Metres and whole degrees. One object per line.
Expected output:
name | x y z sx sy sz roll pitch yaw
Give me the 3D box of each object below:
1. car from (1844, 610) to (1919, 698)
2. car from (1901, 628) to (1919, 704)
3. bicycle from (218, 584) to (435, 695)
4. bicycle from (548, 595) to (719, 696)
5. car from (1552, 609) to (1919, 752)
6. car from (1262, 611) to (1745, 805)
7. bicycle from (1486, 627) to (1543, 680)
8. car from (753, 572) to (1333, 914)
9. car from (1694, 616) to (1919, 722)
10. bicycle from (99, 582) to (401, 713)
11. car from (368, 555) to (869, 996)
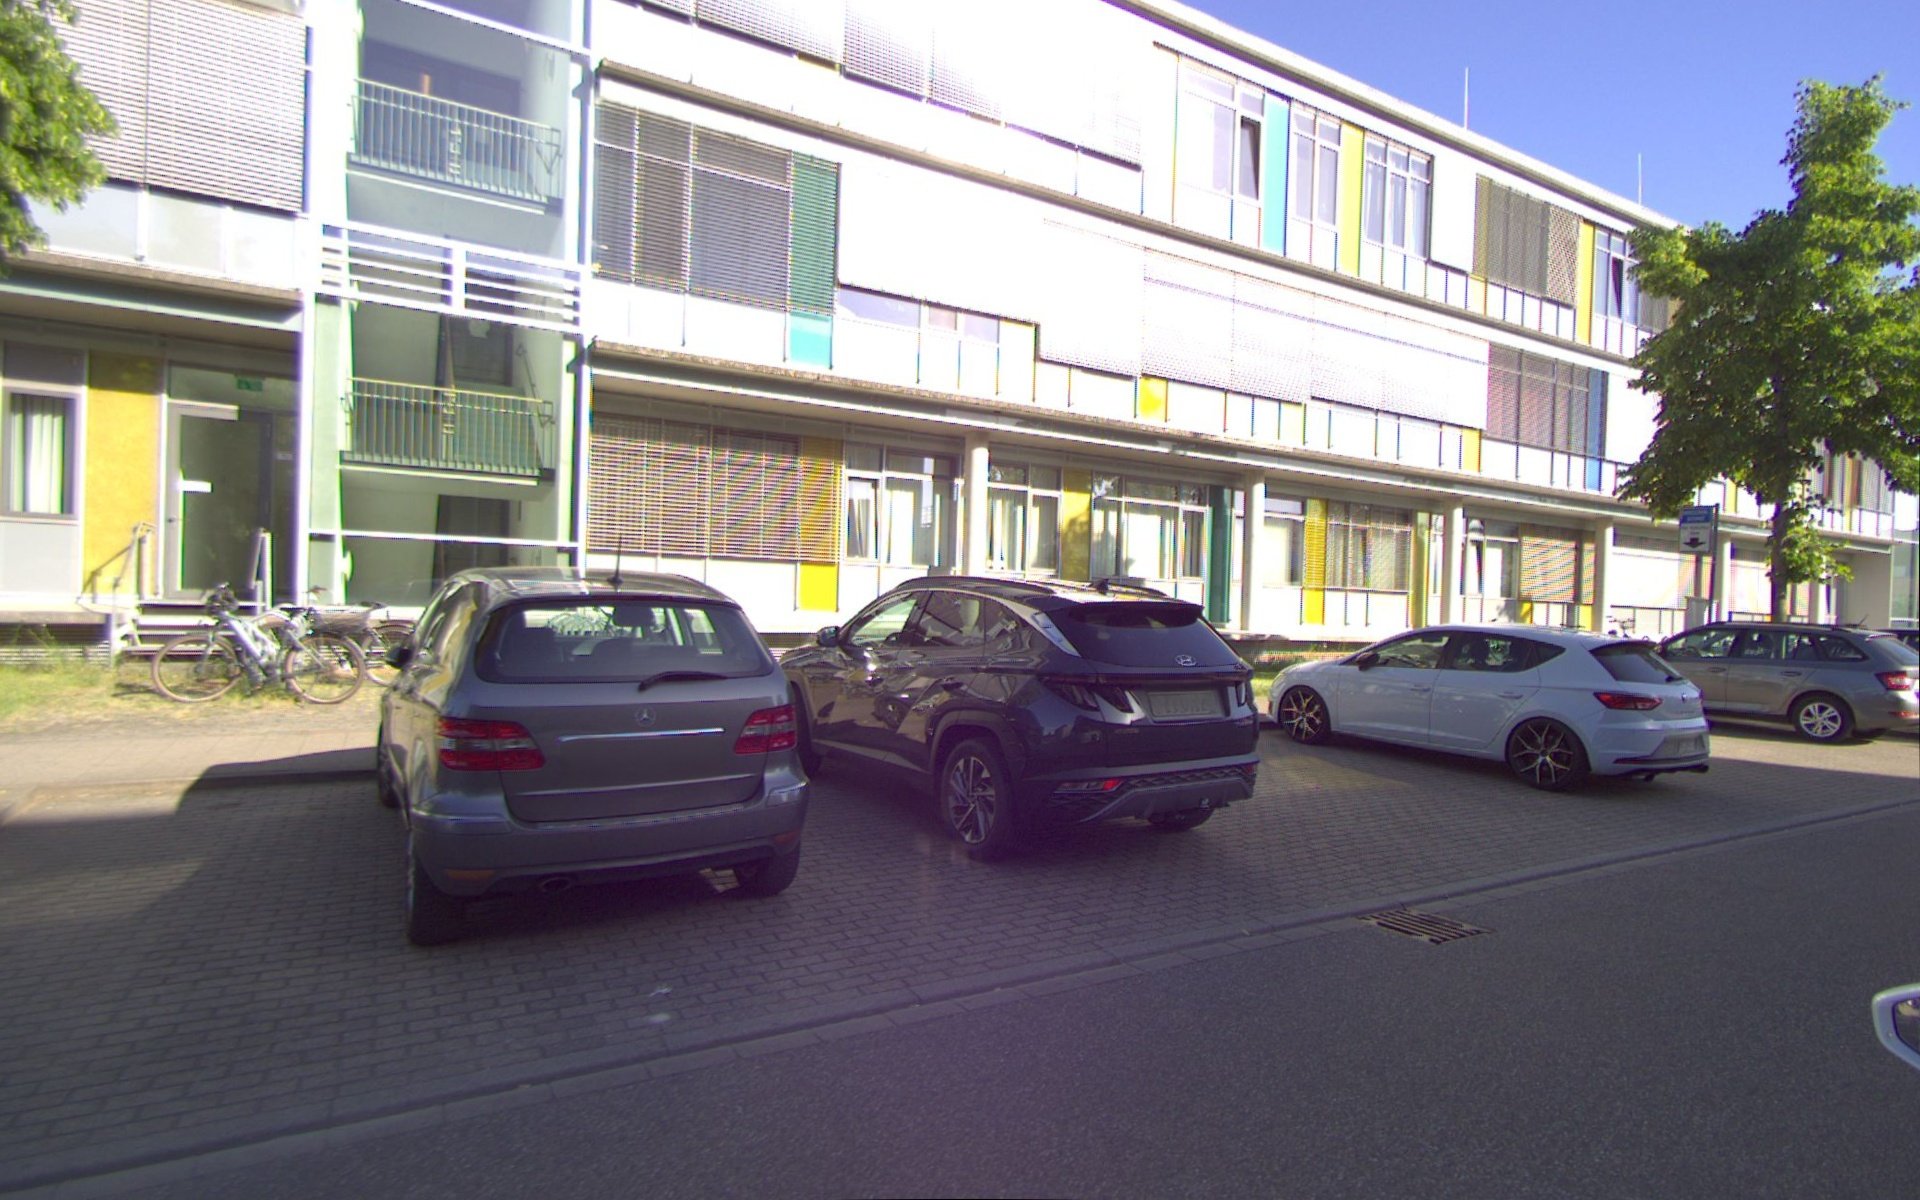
car | 19.627 1.123 18.850 1.852 1.624 4.188 2 1 -33
car | 21.719 1.411 20.026 1.978 1.572 3.965 2 -1 -32
bicycle | -7.317 0.459 11.731 1.963 1.169 0.868 3 1 -21
bicycle | -3.978 0.531 12.234 1.865 1.126 0.889 1 2 -27
car | 10.973 0.988 14.077 1.852 1.482 4.188 2 1 -33
car | 5.262 0.914 10.252 1.725 1.377 3.963 2 1 -33
bicycle | 11.507 1.094 20.827 0.761 1.031 1.369 1 0 40
car | 0.252 0.688 7.322 2.026 1.633 4.221 2 1 -33
car | 15.384 1.155 17.149 1.852 1.506 4.188 2 1 -33
bicycle | -7.150 0.472 10.239 2.330 1.169 0.870 3 1 -9
car | -2.298 0.603 5.903 1.852 1.629 3.963 2 1 -33
